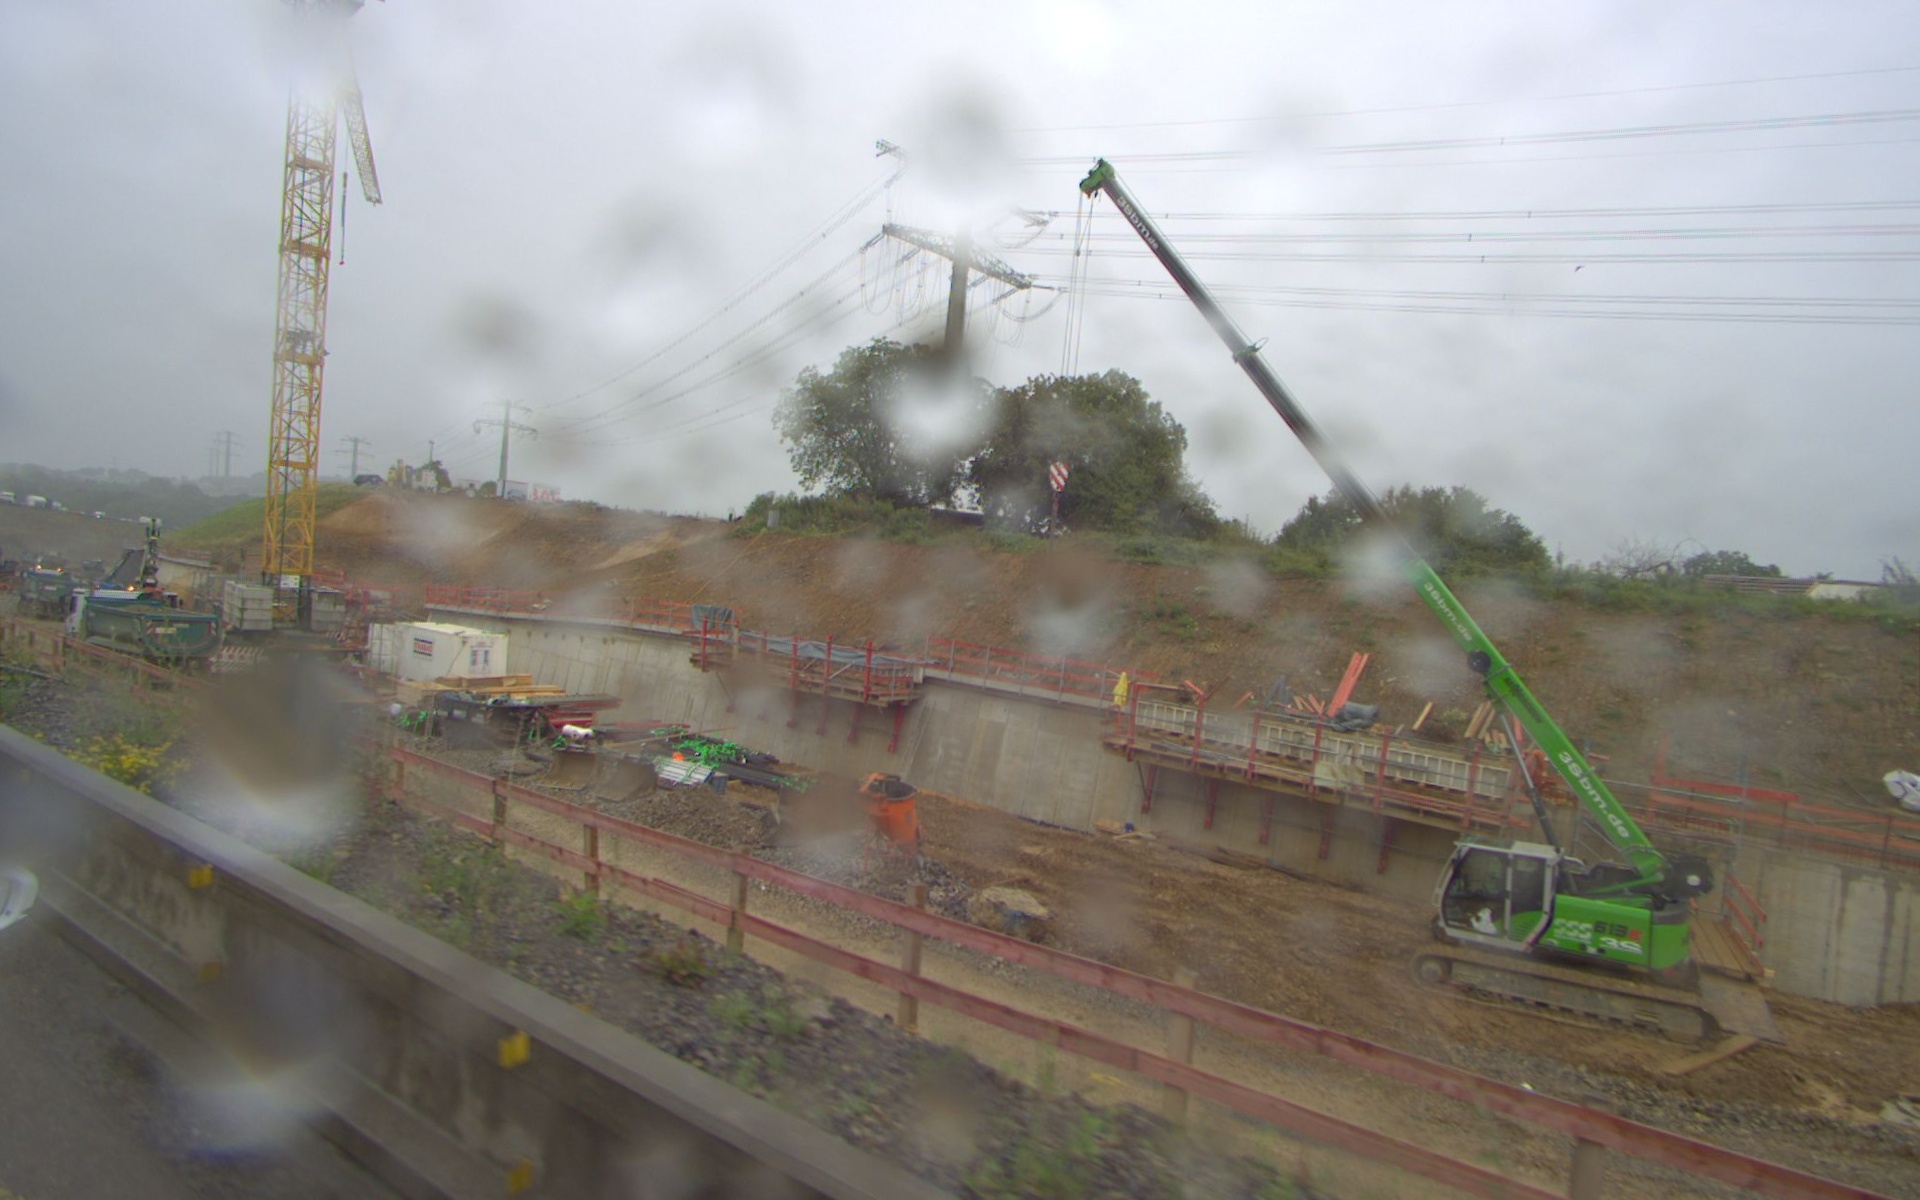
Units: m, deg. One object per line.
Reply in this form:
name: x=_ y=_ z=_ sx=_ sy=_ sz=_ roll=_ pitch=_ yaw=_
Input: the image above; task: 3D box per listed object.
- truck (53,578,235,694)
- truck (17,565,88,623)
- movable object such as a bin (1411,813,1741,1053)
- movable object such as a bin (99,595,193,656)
truck: x=-32.602 y=1.366 z=40.052 sx=8.802 sy=3.544 sz=2.703 roll=6 pitch=-1 yaw=33
truck: x=-68.329 y=-0.501 z=75.638 sx=8.940 sy=3.531 sz=2.727 roll=5 pitch=-2 yaw=42
movable object such as a bin: x=11.321 y=5.896 z=18.853 sx=4.779 sy=2.836 sz=3.797 roll=0 pitch=-4 yaw=32
movable object such as a bin: x=-44.259 y=1.395 z=54.729 sx=2.923 sy=2.770 sz=3.151 roll=6 pitch=-2 yaw=37
